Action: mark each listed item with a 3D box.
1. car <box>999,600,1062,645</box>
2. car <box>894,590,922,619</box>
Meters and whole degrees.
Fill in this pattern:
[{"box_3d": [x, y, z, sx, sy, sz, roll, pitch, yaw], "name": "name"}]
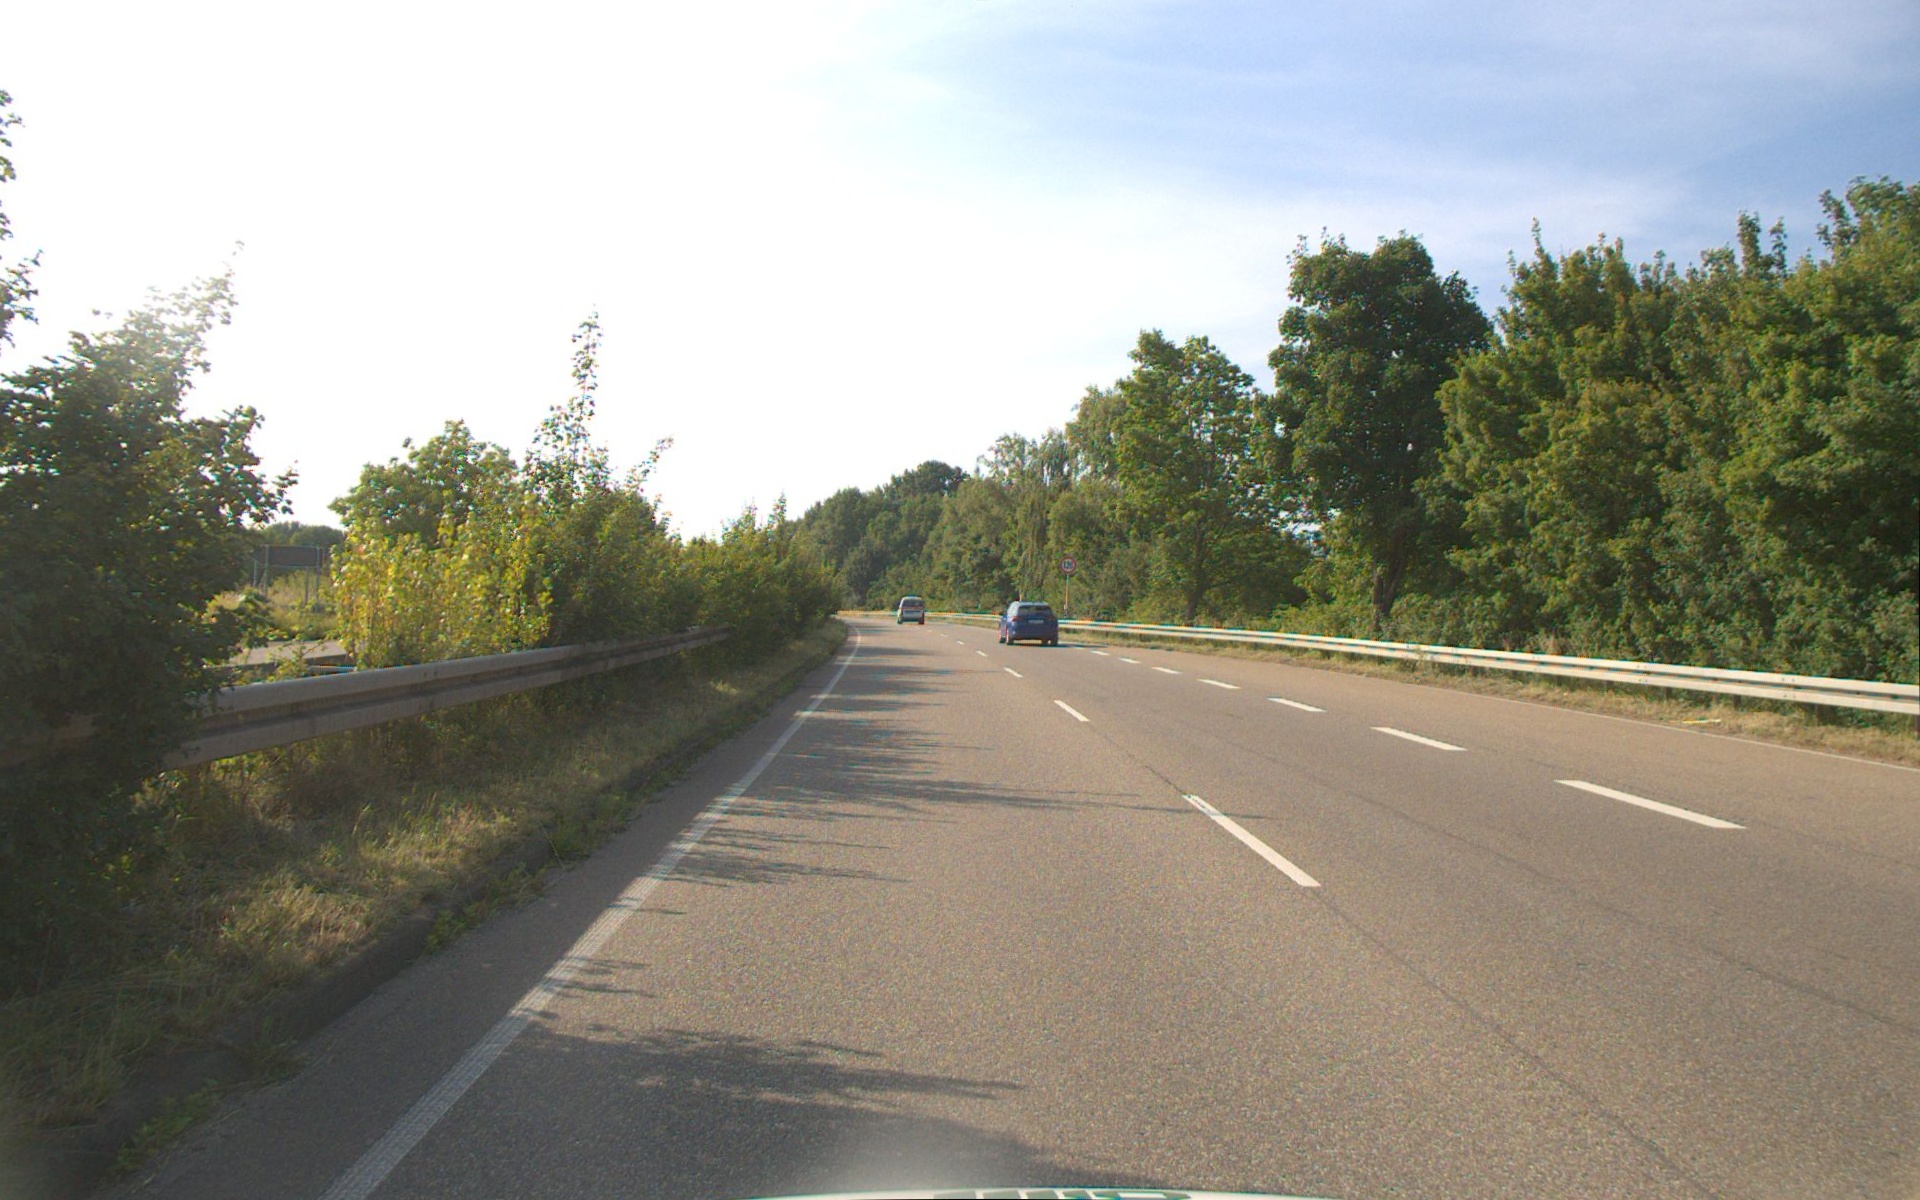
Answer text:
[{"box_3d": [2.384, 0.748, 56.732, 1.744, 1.477, 3.997, 1, 0, -4], "name": "car"}, {"box_3d": [-3.555, 0.275, 112.487, 1.731, 1.914, 3.996, 1, 0, -5], "name": "car"}]
